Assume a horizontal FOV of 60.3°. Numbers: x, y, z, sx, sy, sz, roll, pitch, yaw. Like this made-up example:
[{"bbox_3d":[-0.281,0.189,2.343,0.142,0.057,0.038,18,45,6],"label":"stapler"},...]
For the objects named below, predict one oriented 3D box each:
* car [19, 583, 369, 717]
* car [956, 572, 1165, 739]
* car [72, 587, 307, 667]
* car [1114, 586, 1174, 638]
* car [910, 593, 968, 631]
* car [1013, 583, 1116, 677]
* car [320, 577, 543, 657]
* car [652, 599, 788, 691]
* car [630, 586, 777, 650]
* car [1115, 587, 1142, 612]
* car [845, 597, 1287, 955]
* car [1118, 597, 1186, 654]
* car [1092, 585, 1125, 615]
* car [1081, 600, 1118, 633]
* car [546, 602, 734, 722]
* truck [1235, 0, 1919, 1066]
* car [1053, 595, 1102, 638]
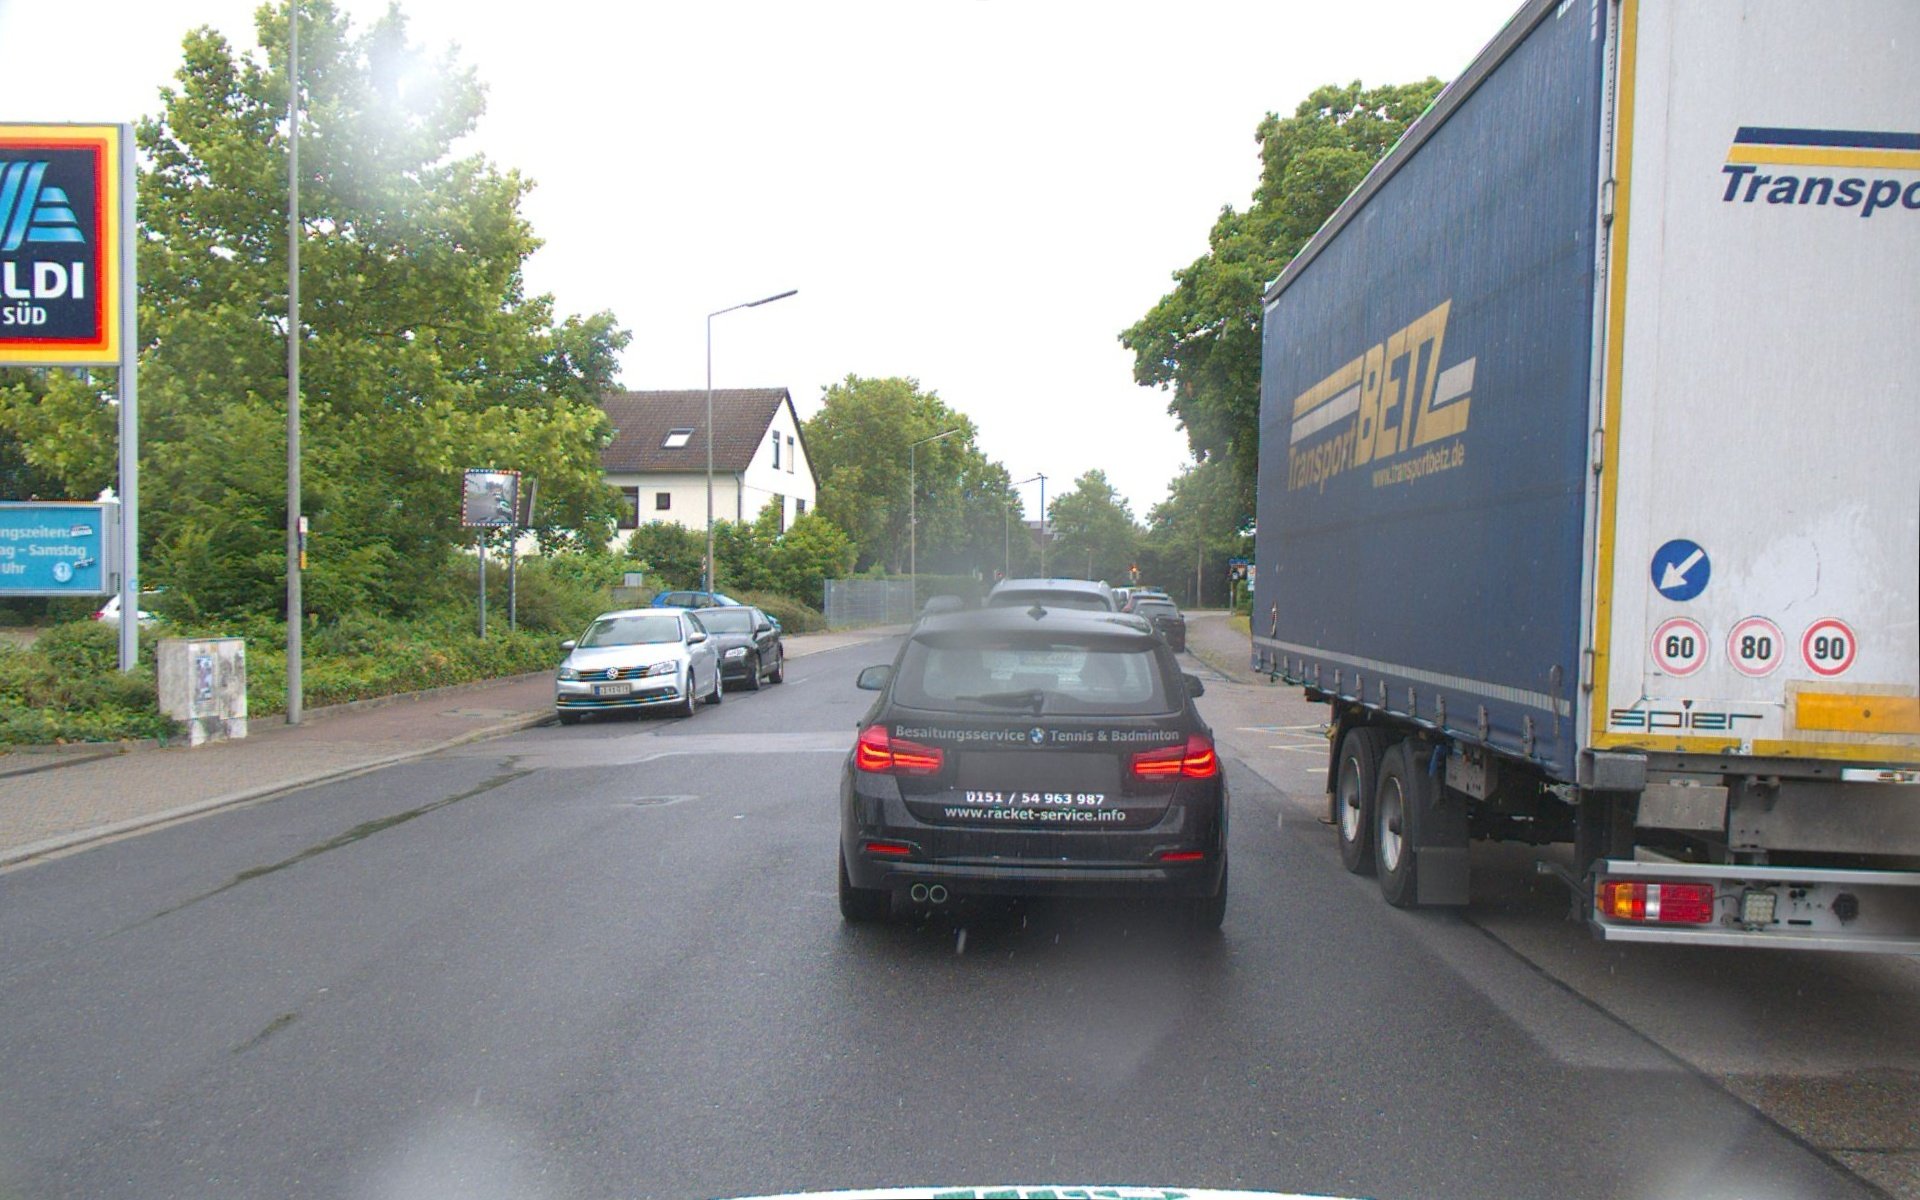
[{"bbox_3d":[-9.427,0.591,20.556,3.497,1.485,1.712,2,0,-1],"label":"car"},{"bbox_3d":[0.982,0.550,18.128,1.769,1.614,3.997,1,0,-4],"label":"car"},{"bbox_3d":[-15.700,0.532,33.850,3.906,1.567,1.910,0,0,-1],"label":"car"},{"bbox_3d":[6.057,0.383,54.669,1.766,1.614,4.002,1,0,4],"label":"car"},{"bbox_3d":[-0.792,0.449,65.476,1.669,1.391,3.841,-2,0,9],"label":"car"},{"bbox_3d":[1.940,0.527,30.809,1.766,1.614,4.002,1,0,4],"label":"car"},{"bbox_3d":[-10.685,0.340,33.645,3.906,1.567,1.910,0,0,-1],"label":"car"},{"bbox_3d":[-4.091,0.727,28.722,1.670,1.391,3.839,-2,0,1],"label":"car"},{"bbox_3d":[-7.261,0.503,46.958,3.744,1.622,1.713,-2,0,8],"label":"car"},{"bbox_3d":[11.025,-0.061,108.213,1.766,1.614,4.003,0,0,6],"label":"car"},{"bbox_3d":[0.305,0.718,8.626,1.769,1.419,3.997,1,0,-4],"label":"car"},{"bbox_3d":[5.681,0.744,49.310,1.766,1.614,4.002,1,0,4],"label":"car"},{"bbox_3d":[8.118,-0.016,90.180,1.766,1.614,4.003,0,0,6],"label":"car"},{"bbox_3d":[7.002,0.821,82.785,1.766,1.614,4.003,1,0,6],"label":"car"},{"bbox_3d":[-4.315,0.781,22.972,1.671,1.391,4.601,-2,0,0],"label":"car"},{"bbox_3d":[3.458,-0.359,9.097,2.684,3.674,7.751,2,0,2],"label":"truck"},{"bbox_3d":[4.686,0.655,65.507,1.766,1.614,4.003,1,0,6],"label":"car"}]
